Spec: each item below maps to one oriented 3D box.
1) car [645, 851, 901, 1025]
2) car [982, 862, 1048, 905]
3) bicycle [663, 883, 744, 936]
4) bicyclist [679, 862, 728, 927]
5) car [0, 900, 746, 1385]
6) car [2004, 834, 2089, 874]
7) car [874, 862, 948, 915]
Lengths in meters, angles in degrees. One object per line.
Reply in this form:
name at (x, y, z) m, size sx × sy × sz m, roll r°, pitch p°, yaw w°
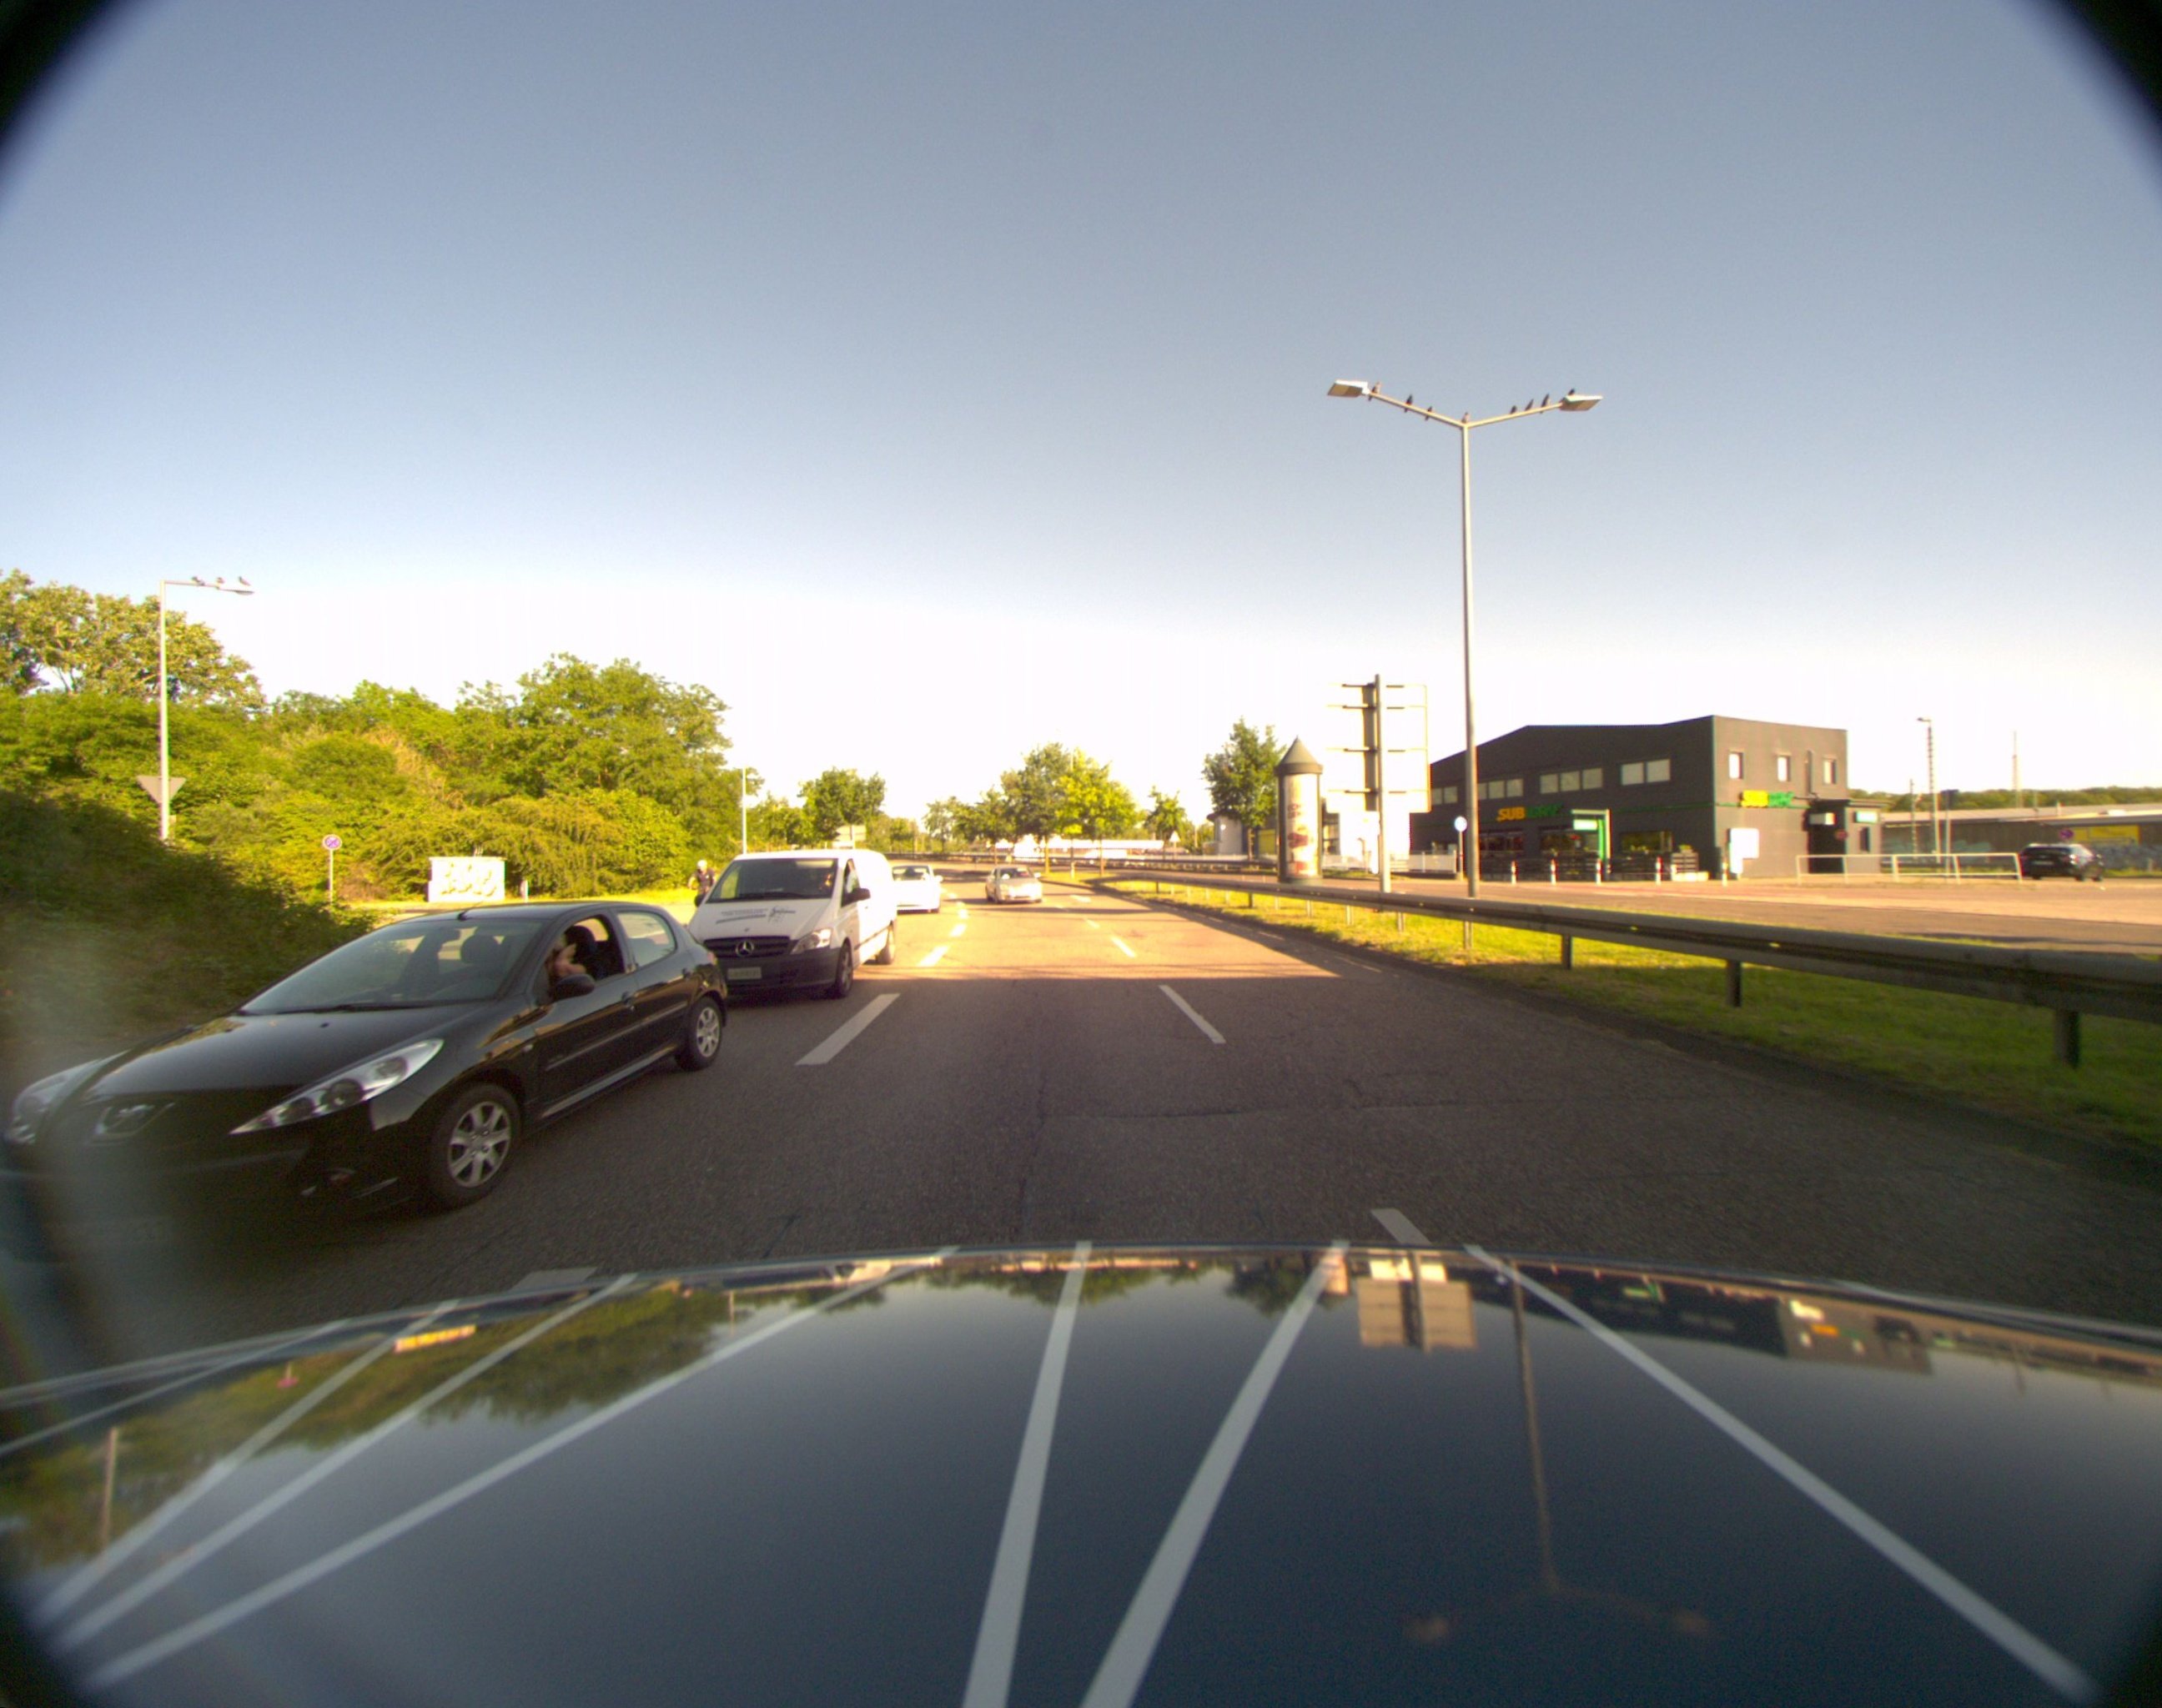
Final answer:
car at (-3.919, 0.935, 10.704) m, size 1.903 × 1.825 × 4.833 m, roll -2°, pitch 0°, yaw -4°
car at (-2.694, 1.102, 29.963) m, size 1.703 × 1.446 × 4.391 m, roll -3°, pitch 1°, yaw -16°
bicycle at (-9.868, 1.417, 19.989) m, size 0.767 × 1.139 × 2.469 m, roll -2°, pitch 1°, yaw 2°
bicyclist at (-9.885, 1.045, 19.943) m, size 0.748 × 1.646 × 0.886 m, roll -2°, pitch 1°, yaw 2°
car at (-3.735, 1.139, 4.521) m, size 1.750 × 1.447 × 3.716 m, roll -2°, pitch 0°, yaw 0°
car at (39.554, 0.002, 31.112) m, size 4.006 × 1.434 × 1.878 m, roll -3°, pitch 1°, yaw -35°
car at (-5.673, 1.092, 25.935) m, size 2.000 × 1.542 × 4.417 m, roll -2°, pitch 1°, yaw -7°
